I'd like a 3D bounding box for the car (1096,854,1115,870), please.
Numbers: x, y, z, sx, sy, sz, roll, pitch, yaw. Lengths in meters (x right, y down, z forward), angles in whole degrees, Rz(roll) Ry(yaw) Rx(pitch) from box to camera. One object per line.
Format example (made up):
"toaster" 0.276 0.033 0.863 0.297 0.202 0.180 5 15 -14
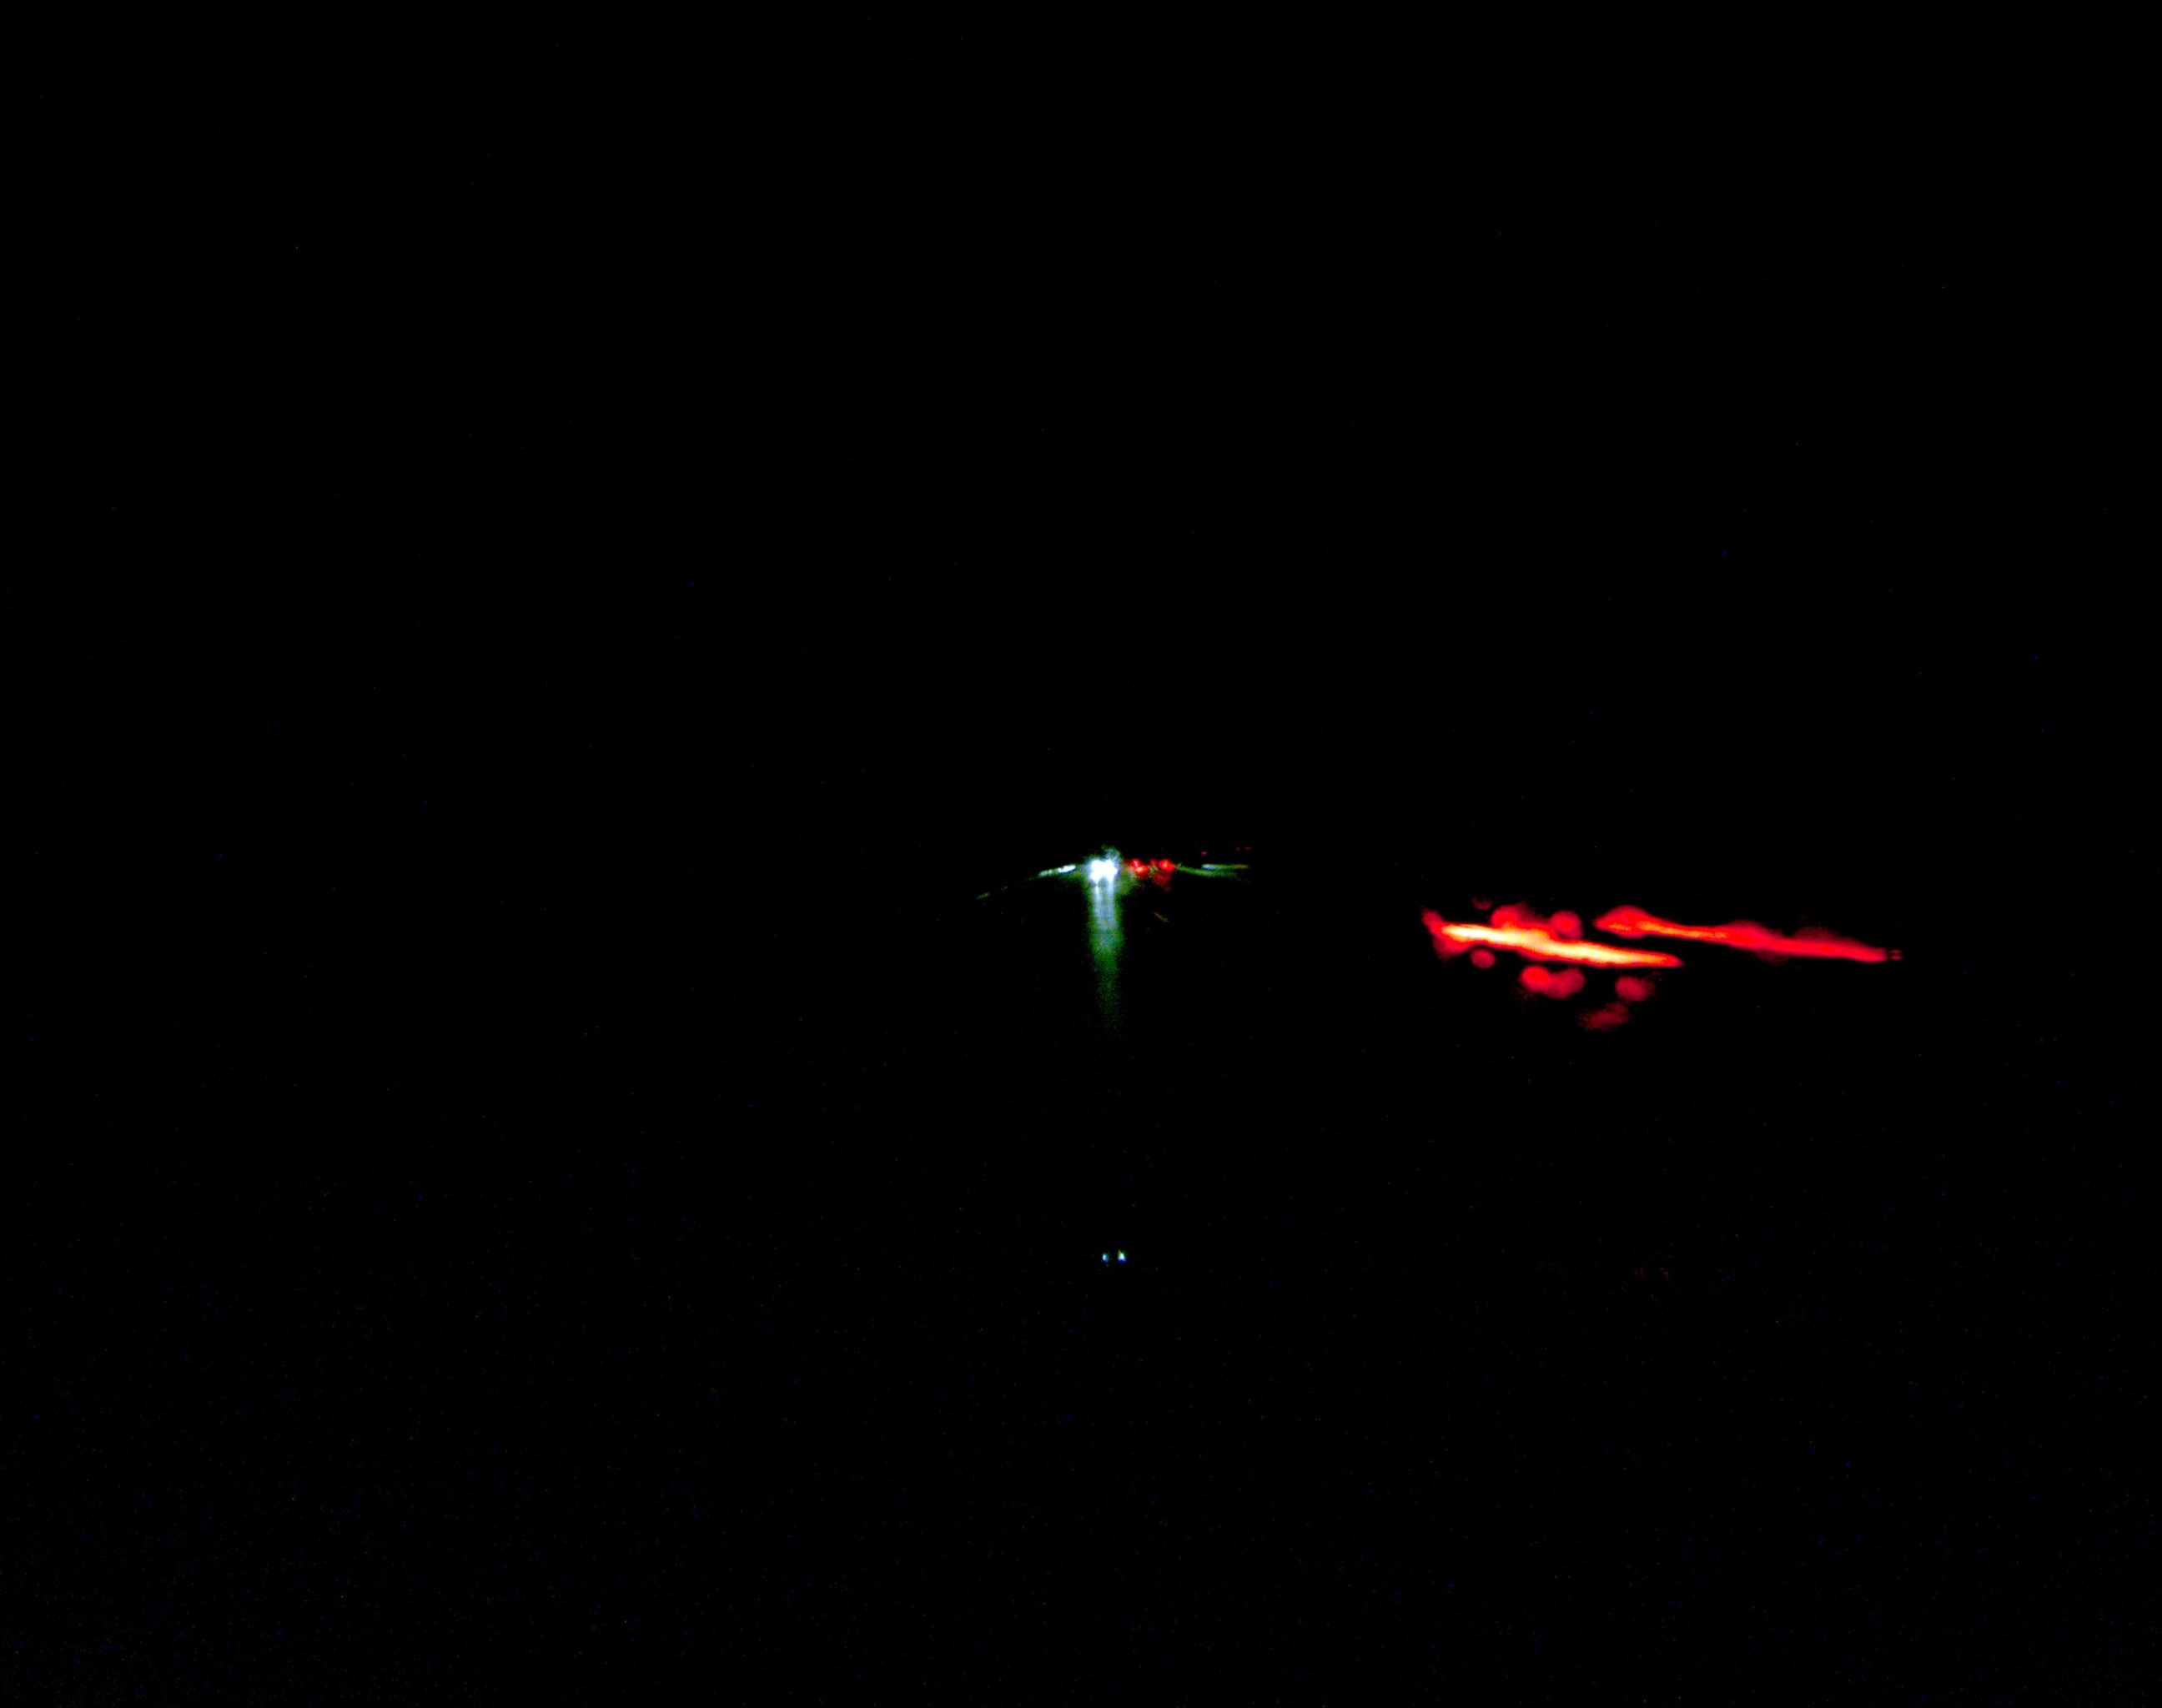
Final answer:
"car" 2.596 0.834 79.694 1.807 1.452 4.276 -2 0 4

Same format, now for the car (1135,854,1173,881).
"car" 4.139 0.717 43.694 1.810 1.331 4.188 -2 1 1

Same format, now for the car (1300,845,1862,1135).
"car" 3.477 0.743 6.585 1.839 1.536 4.645 -2 1 1

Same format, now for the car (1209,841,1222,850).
"car" 31.123 -2.065 175.777 1.995 1.915 4.006 -2 1 25

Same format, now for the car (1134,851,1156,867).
"car" 6.373 0.473 76.262 1.998 1.463 3.836 -2 0 2
